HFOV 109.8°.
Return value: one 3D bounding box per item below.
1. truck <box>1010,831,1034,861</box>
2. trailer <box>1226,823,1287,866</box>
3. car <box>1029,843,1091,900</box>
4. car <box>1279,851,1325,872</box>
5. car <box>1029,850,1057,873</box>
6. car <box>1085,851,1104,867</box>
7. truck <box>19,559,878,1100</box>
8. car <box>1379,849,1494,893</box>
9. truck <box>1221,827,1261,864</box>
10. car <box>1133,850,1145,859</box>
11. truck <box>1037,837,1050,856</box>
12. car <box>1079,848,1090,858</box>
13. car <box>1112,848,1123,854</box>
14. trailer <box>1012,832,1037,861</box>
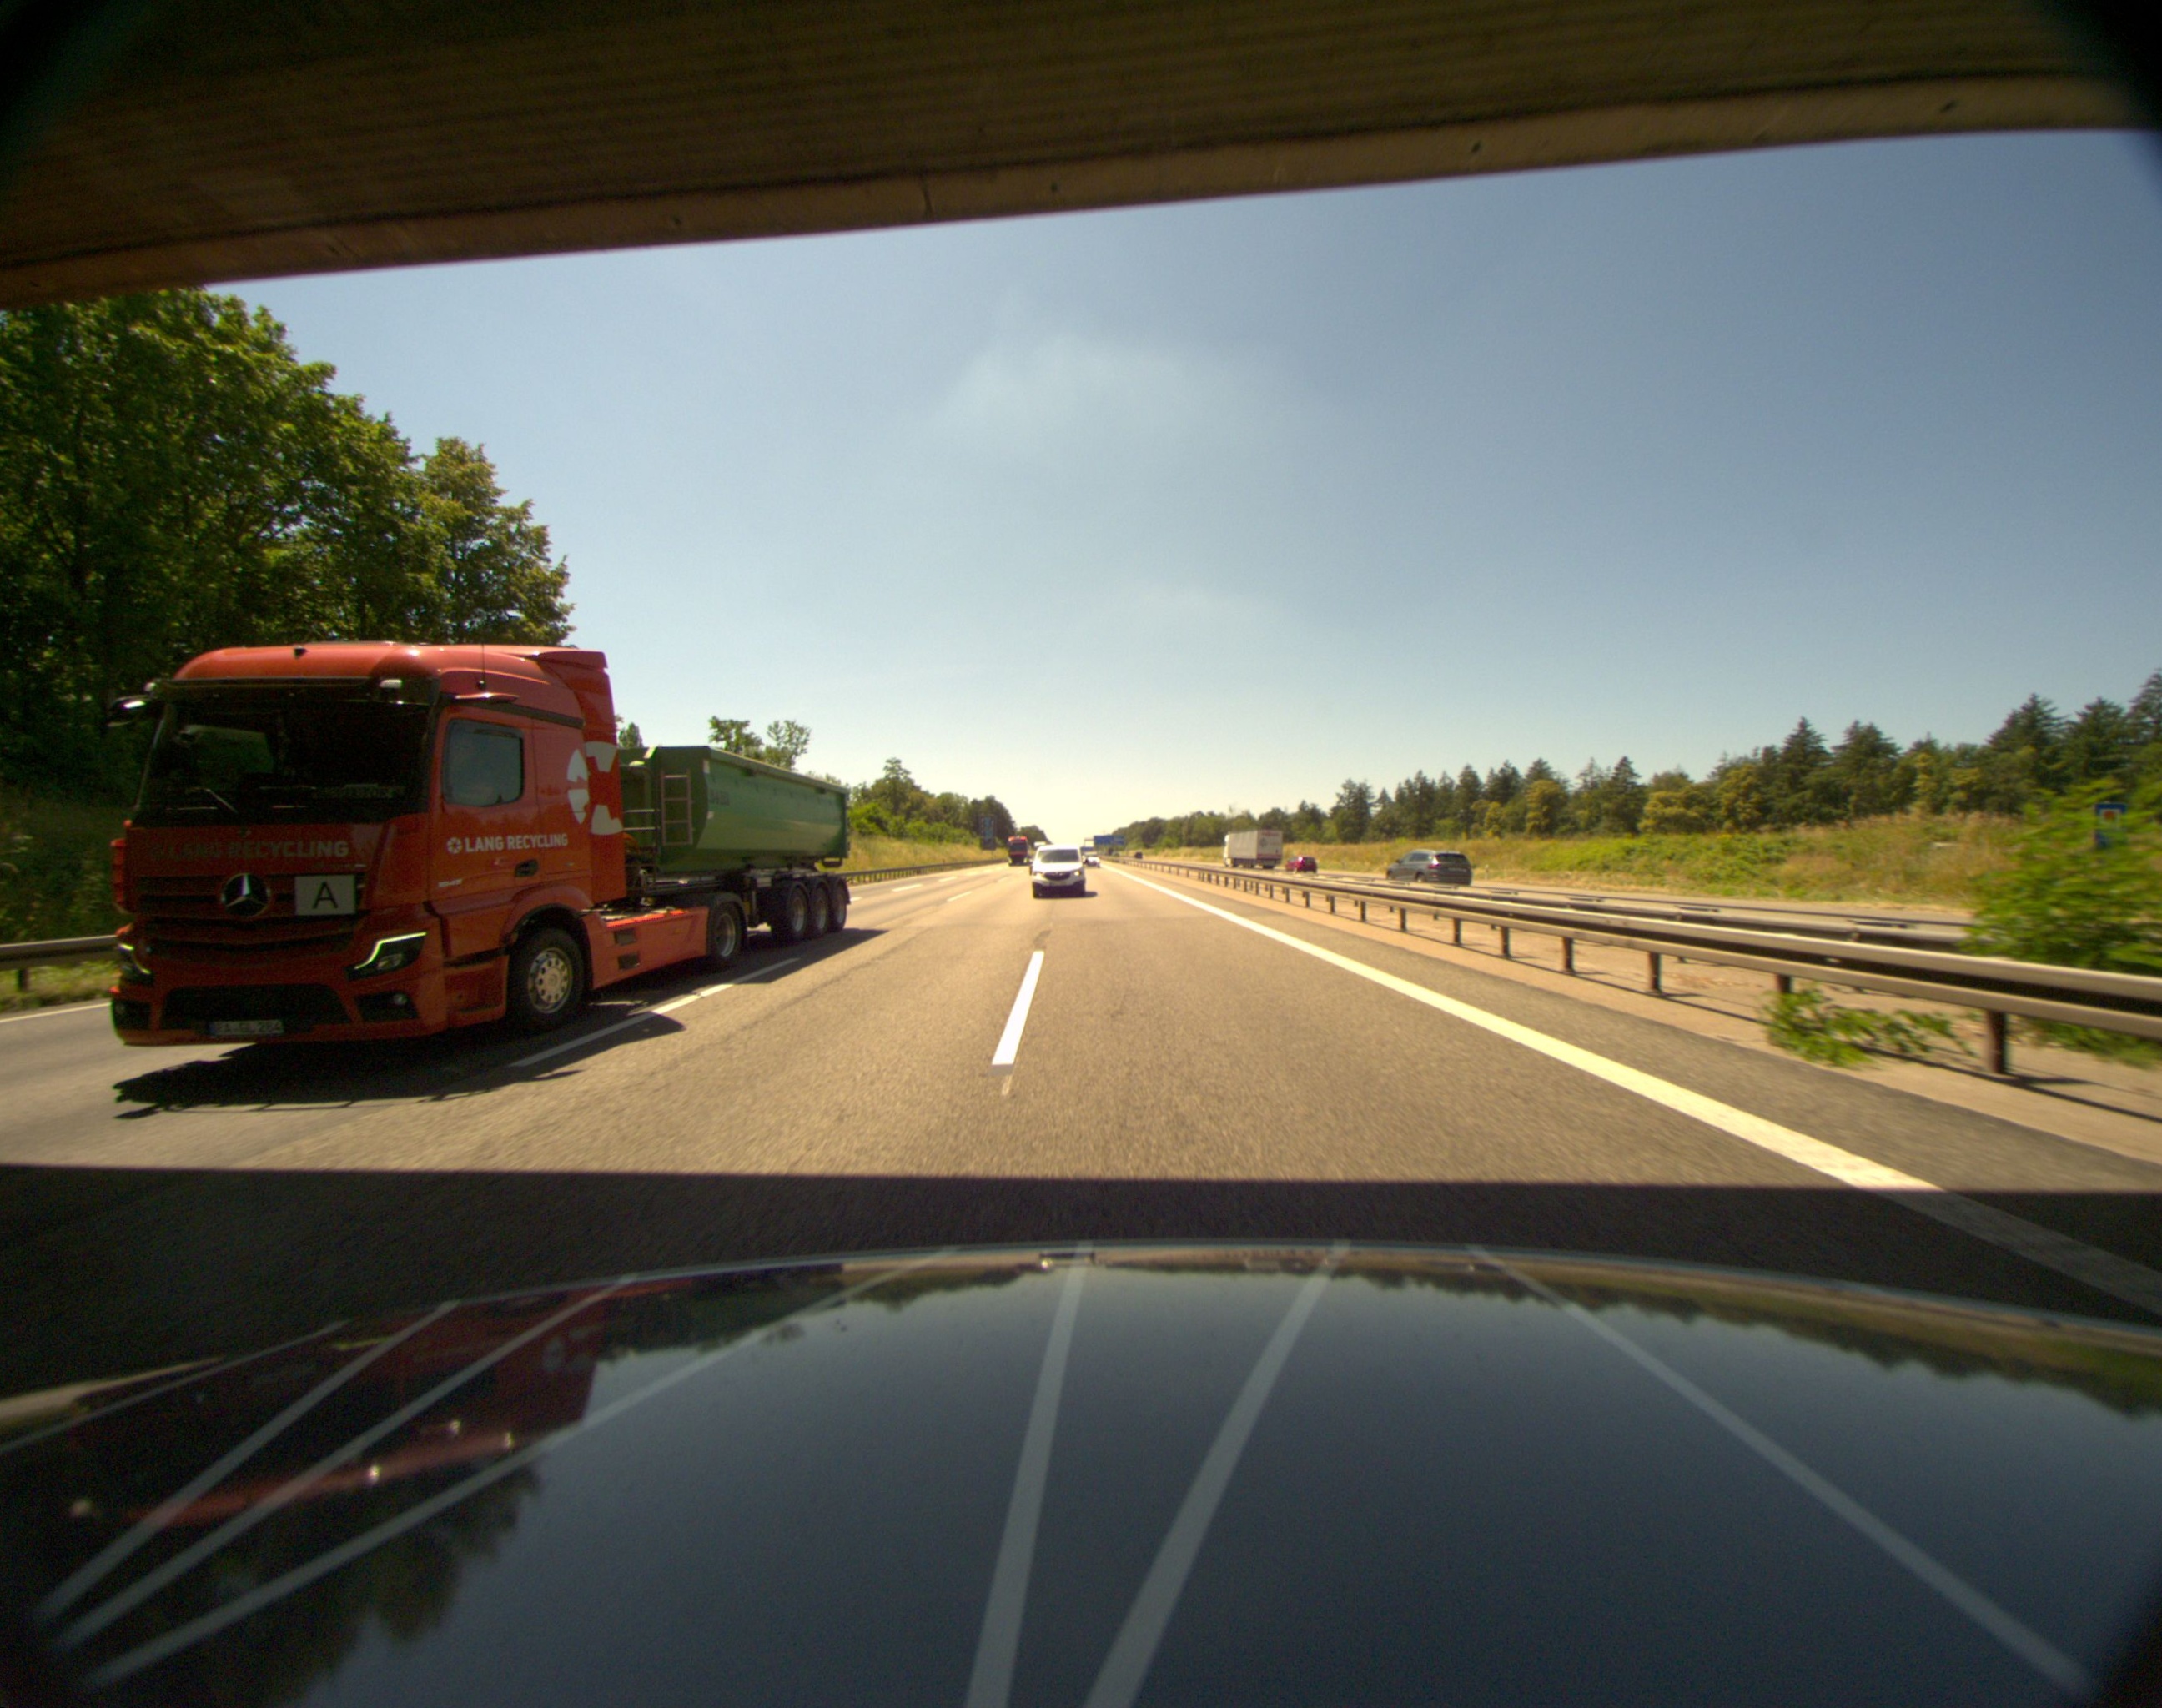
[{"bbox_3d":[-7.638,-1.005,98.556,2.535,3.712,6.098,-2,0,-1],"label":"truck"},{"bbox_3d":[18.429,-0.964,81.077,2.957,4.084,14.100,2,0,-1],"label":"trailer"},{"bbox_3d":[-0.654,0.560,27.385,1.870,1.807,4.941,-2,0,2],"label":"car"},{"bbox_3d":[17.767,0.582,61.450,2.233,1.601,4.787,2,0,-1],"label":"car"},{"bbox_3d":[-2.679,0.515,54.227,1.806,1.475,4.271,-2,0,-1],"label":"car"},{"bbox_3d":[1.242,0.442,68.941,1.582,1.412,3.352,-2,0,-1],"label":"car"},{"bbox_3d":[-6.159,-0.202,11.664,2.688,3.776,12.476,-2,0,0],"label":"truck"},{"bbox_3d":[14.309,0.638,30.998,2.233,1.601,5.059,2,0,-1],"label":"car"},{"bbox_3d":[18.347,-0.941,87.351,2.957,3.937,6.951,2,0,-1],"label":"truck"},{"bbox_3d":[12.898,0.106,168.681,2.233,1.801,5.298,2,0,-1],"label":"car"},{"bbox_3d":[-8.216,-1.598,168.035,2.604,3.980,6.172,-2,0,-1],"label":"truck"},{"bbox_3d":[0.467,-0.098,115.495,1.582,1.411,3.353,-2,-1,-1],"label":"car"},{"bbox_3d":[8.908,-0.635,186.585,2.233,1.415,5.298,2,0,-1],"label":"car"},{"bbox_3d":[-7.692,-1.033,104.487,2.535,3.712,11.547,-2,0,-1],"label":"trailer"}]
